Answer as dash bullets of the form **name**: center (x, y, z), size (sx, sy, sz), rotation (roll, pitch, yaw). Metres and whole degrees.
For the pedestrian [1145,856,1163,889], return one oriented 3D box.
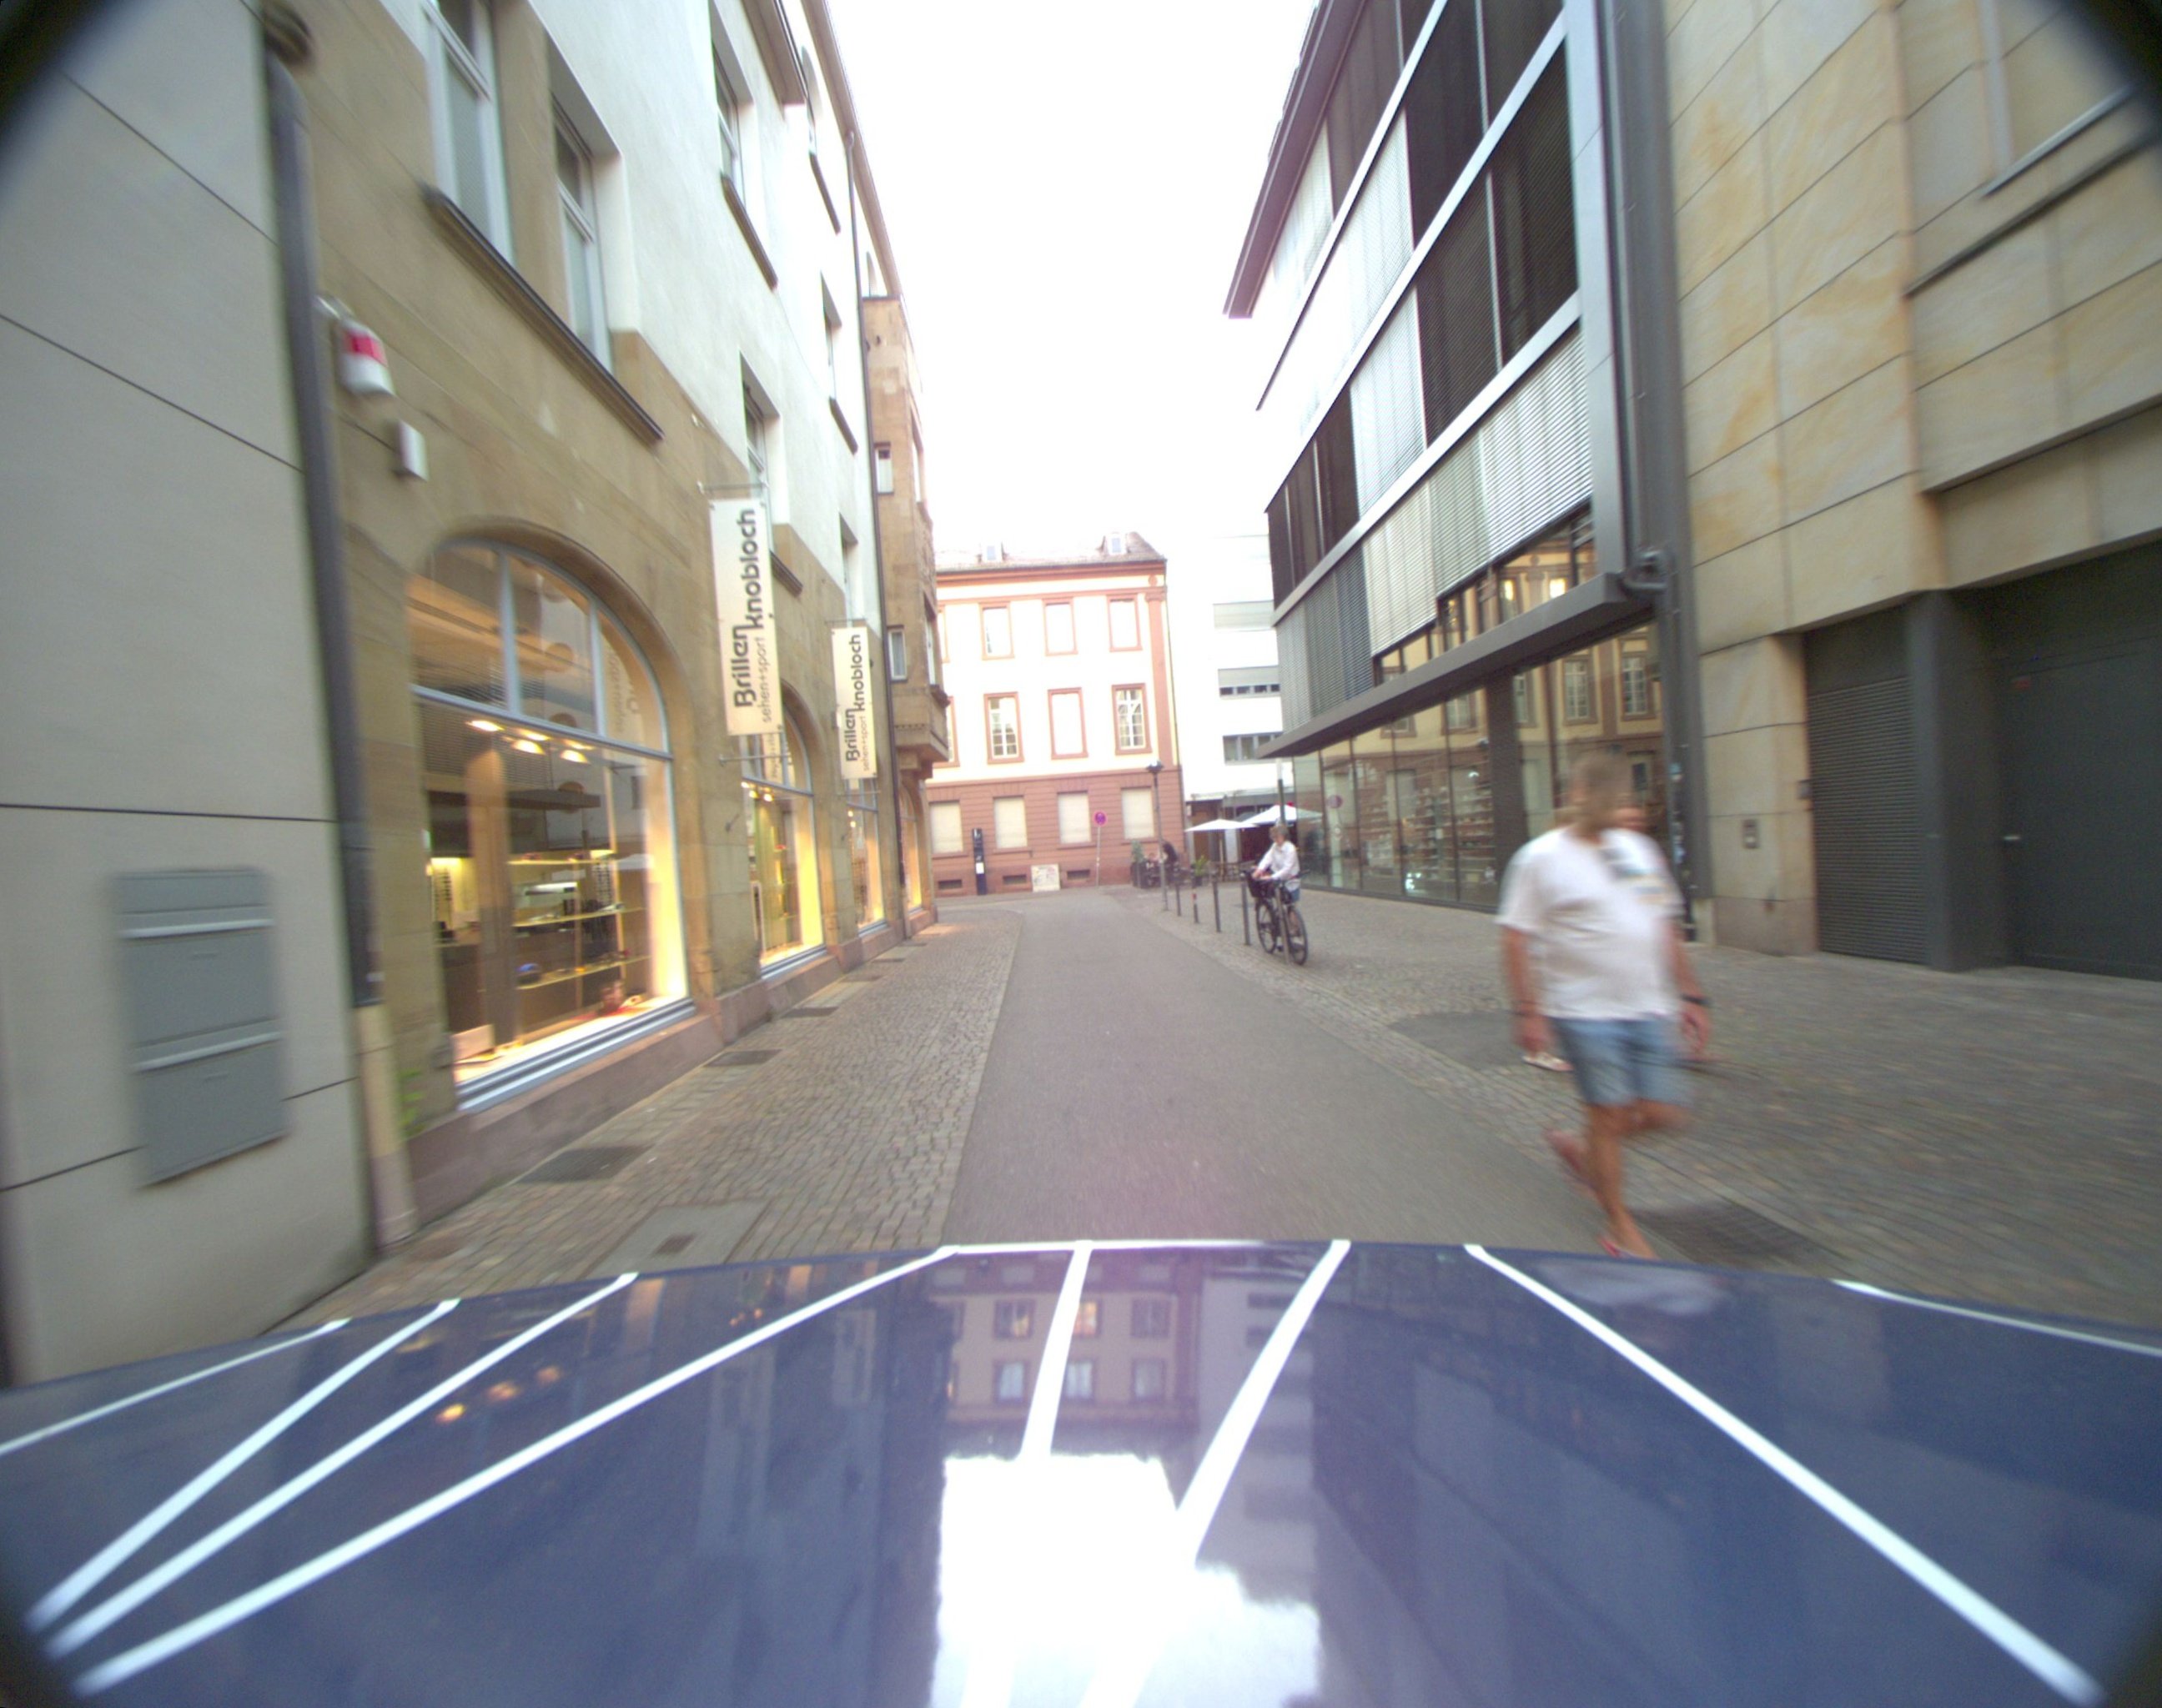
- **pedestrian**: center (2.820, 0.715, 29.193), size (0.562, 1.205, 0.461), rotation (-4, 1, 0)

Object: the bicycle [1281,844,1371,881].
- **bicycle**: center (8.942, 0.297, 27.854), size (2.952, 1.162, 0.894), rotation (-4, 1, 1)

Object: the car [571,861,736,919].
- **car**: center (-12.981, 1.069, 23.216), size (3.997, 1.434, 1.650), rotation (-4, 1, -1)

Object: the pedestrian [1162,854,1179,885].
- **pedestrian**: center (3.606, 0.630, 30.545), size (0.549, 1.204, 0.524), rotation (-4, 1, 0)

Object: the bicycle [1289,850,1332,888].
- **bicycle**: center (7.307, 0.477, 24.285), size (0.709, 1.106, 1.673), rotation (-4, -1, -4)

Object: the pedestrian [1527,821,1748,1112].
- **pedestrian**: center (3.571, 0.657, 4.919), size (0.677, 1.655, 0.859), rotation (-5, 1, -25)

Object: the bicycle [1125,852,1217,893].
- **bicycle**: center (3.230, 0.666, 27.485), size (3.155, 1.253, 0.923), rotation (-4, 0, -2)

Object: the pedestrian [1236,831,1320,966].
- **pedestrian**: center (2.672, 0.580, 10.307), size (0.771, 1.708, 0.590), rotation (-6, 1, -33)

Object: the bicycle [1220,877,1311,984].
- **bicycle**: center (2.336, 0.925, 9.842), size (0.534, 1.147, 1.914), rotation (-6, 1, -2)

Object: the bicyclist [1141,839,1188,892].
- **bicyclist**: center (2.995, 0.419, 27.483), size (1.469, 1.807, 0.923), rotation (-4, 0, -1)

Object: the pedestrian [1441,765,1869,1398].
- **pedestrian**: center (1.907, 0.663, 2.671), size (0.744, 1.812, 0.878), rotation (-4, 1, -4)

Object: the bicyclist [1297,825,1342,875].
- **bicyclist**: center (8.730, -0.150, 27.855), size (1.284, 1.718, 0.894), rotation (-4, 1, 1)

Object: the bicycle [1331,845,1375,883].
- **bicycle**: center (8.814, 0.331, 24.715), size (0.609, 1.143, 1.841), rotation (-4, -1, -4)

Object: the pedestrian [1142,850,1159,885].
- **pedestrian**: center (2.790, 0.538, 30.706), size (0.549, 1.341, 0.489), rotation (-4, 1, 0)

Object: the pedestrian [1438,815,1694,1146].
- **pedestrian**: center (2.909, 0.675, 4.618), size (0.810, 1.719, 0.947), rotation (-5, 1, -26)
